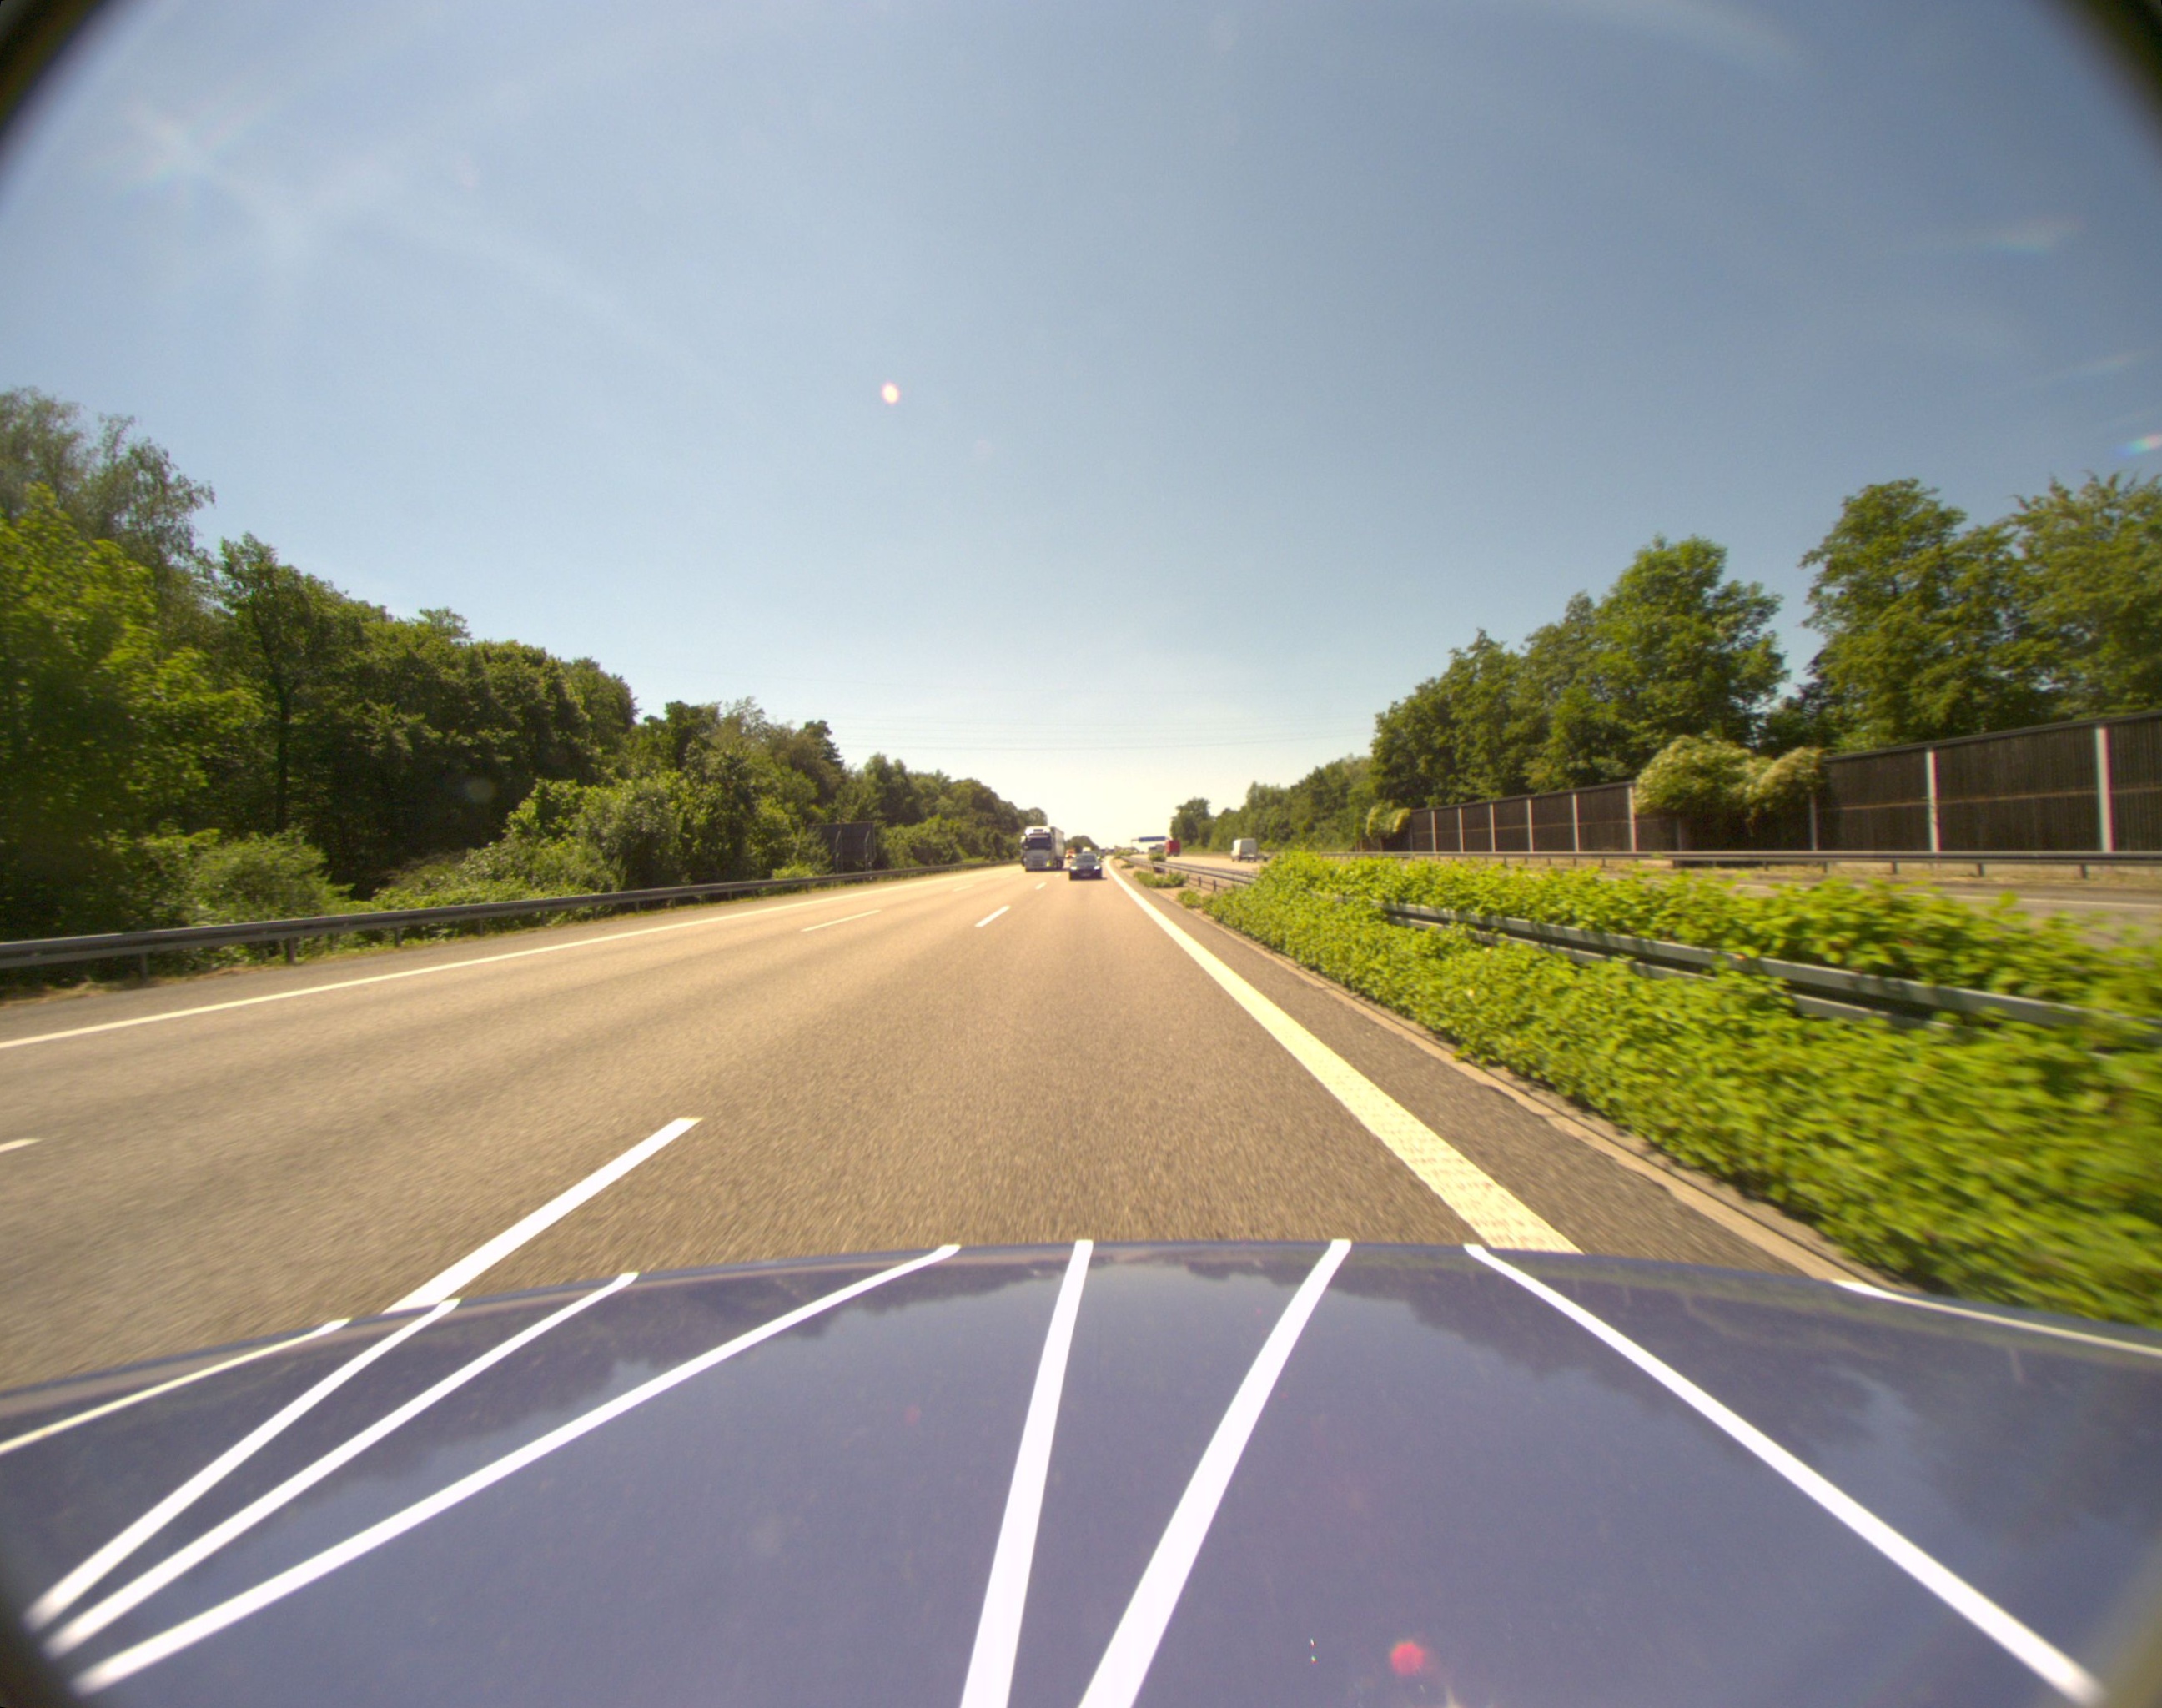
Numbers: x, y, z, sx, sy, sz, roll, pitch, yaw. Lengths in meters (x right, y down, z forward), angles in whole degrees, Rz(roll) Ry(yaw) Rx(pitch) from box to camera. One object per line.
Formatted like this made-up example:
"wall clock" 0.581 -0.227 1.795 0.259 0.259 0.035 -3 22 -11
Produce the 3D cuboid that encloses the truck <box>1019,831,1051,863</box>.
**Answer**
"truck" -6.179 -0.957 104.765 3.049 3.947 14.453 -2 0 2

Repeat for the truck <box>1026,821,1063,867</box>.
"truck" -3.214 -0.891 69.009 2.729 3.952 6.501 -2 0 1

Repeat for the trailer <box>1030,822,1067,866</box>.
"trailer" -3.068 -0.929 75.854 2.747 3.952 13.654 -2 0 1

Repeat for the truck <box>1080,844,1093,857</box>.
"truck" 1.347 -0.870 191.383 2.859 3.163 10.710 -2 0 0

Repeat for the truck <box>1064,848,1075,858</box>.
"truck" -2.829 -0.309 190.632 2.437 2.426 10.008 -2 0 0

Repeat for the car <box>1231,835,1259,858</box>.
"car" 18.455 -0.853 85.554 2.029 2.417 5.413 -2 0 1

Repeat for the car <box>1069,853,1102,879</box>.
"car" 0.322 0.668 44.652 1.800 1.390 4.833 -2 0 2

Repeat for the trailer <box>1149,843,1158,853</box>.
"trailer" 20.683 -1.694 215.962 2.091 2.598 4.956 -2 0 1

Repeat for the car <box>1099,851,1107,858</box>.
"car" 5.224 0.012 182.537 1.879 1.630 4.000 -2 0 1

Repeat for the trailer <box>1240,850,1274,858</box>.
"trailer" 18.382 -0.013 79.664 2.167 0.802 6.281 -2 0 1

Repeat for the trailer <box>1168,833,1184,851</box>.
"trailer" 23.331 -2.937 187.582 2.690 4.044 14.052 -2 0 2
